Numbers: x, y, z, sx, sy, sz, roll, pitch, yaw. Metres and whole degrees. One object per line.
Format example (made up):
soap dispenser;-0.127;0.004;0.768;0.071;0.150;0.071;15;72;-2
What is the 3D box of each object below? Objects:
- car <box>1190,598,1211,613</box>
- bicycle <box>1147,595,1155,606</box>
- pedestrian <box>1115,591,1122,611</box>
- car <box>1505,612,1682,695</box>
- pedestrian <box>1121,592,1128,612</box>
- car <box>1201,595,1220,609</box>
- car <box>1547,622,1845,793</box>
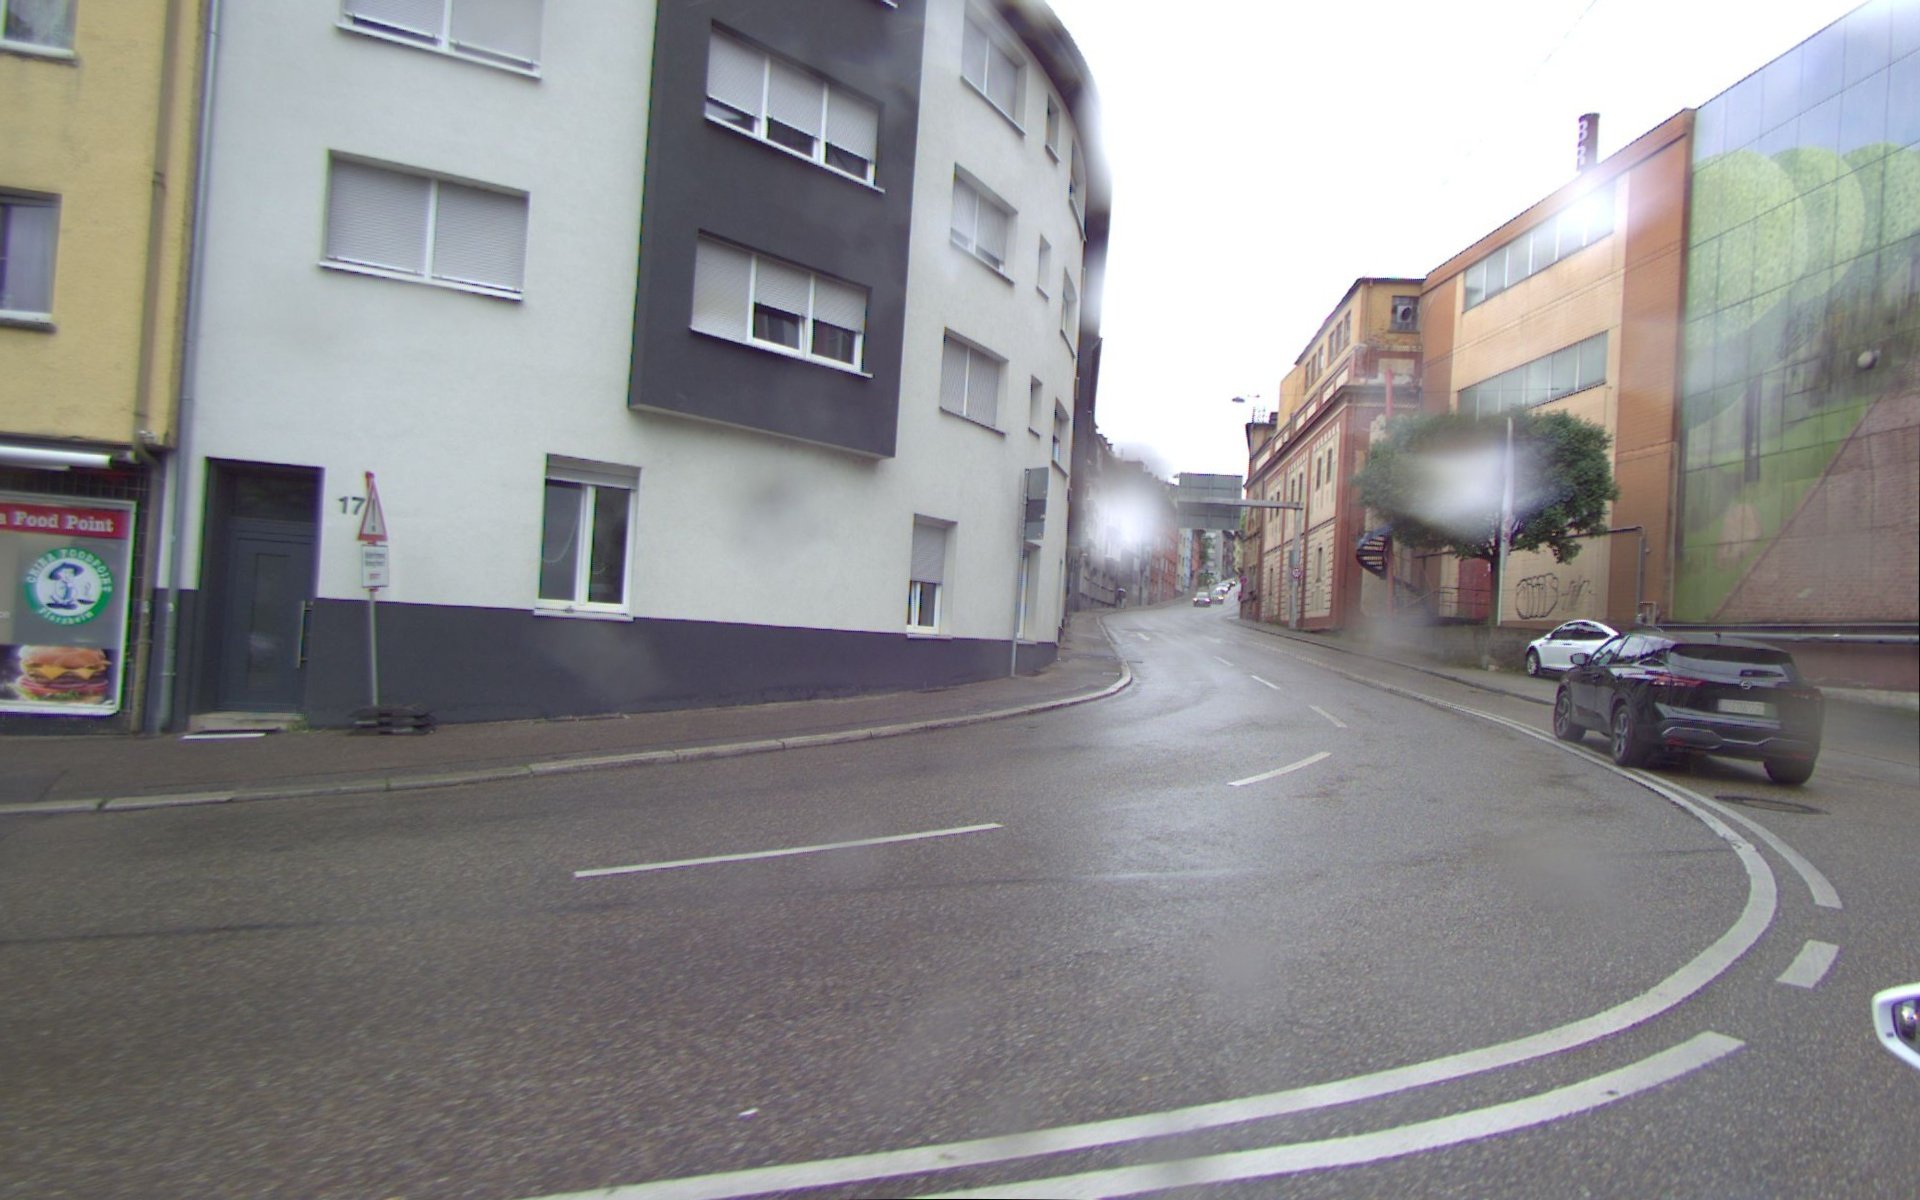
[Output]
car;28.323;0.674;118.058;1.765;1.530;4.000;3;-1;22
bicycle;21.764;0.051;114.431;0.490;1.122;1.800;3;3;20
pedestrian;14.569;0.117;92.192;0.514;1.800;0.622;3;2;13
car;16.226;1.296;26.084;1.821;1.639;4.917;3;2;6
pedestrian;15.110;0.148;92.117;0.514;1.800;0.622;3;2;13
car;32.423;0.255;129.905;1.765;1.530;4.000;3;-1;22
car;8.886;1.177;12.570;1.850;1.615;3.922;5;0;19
